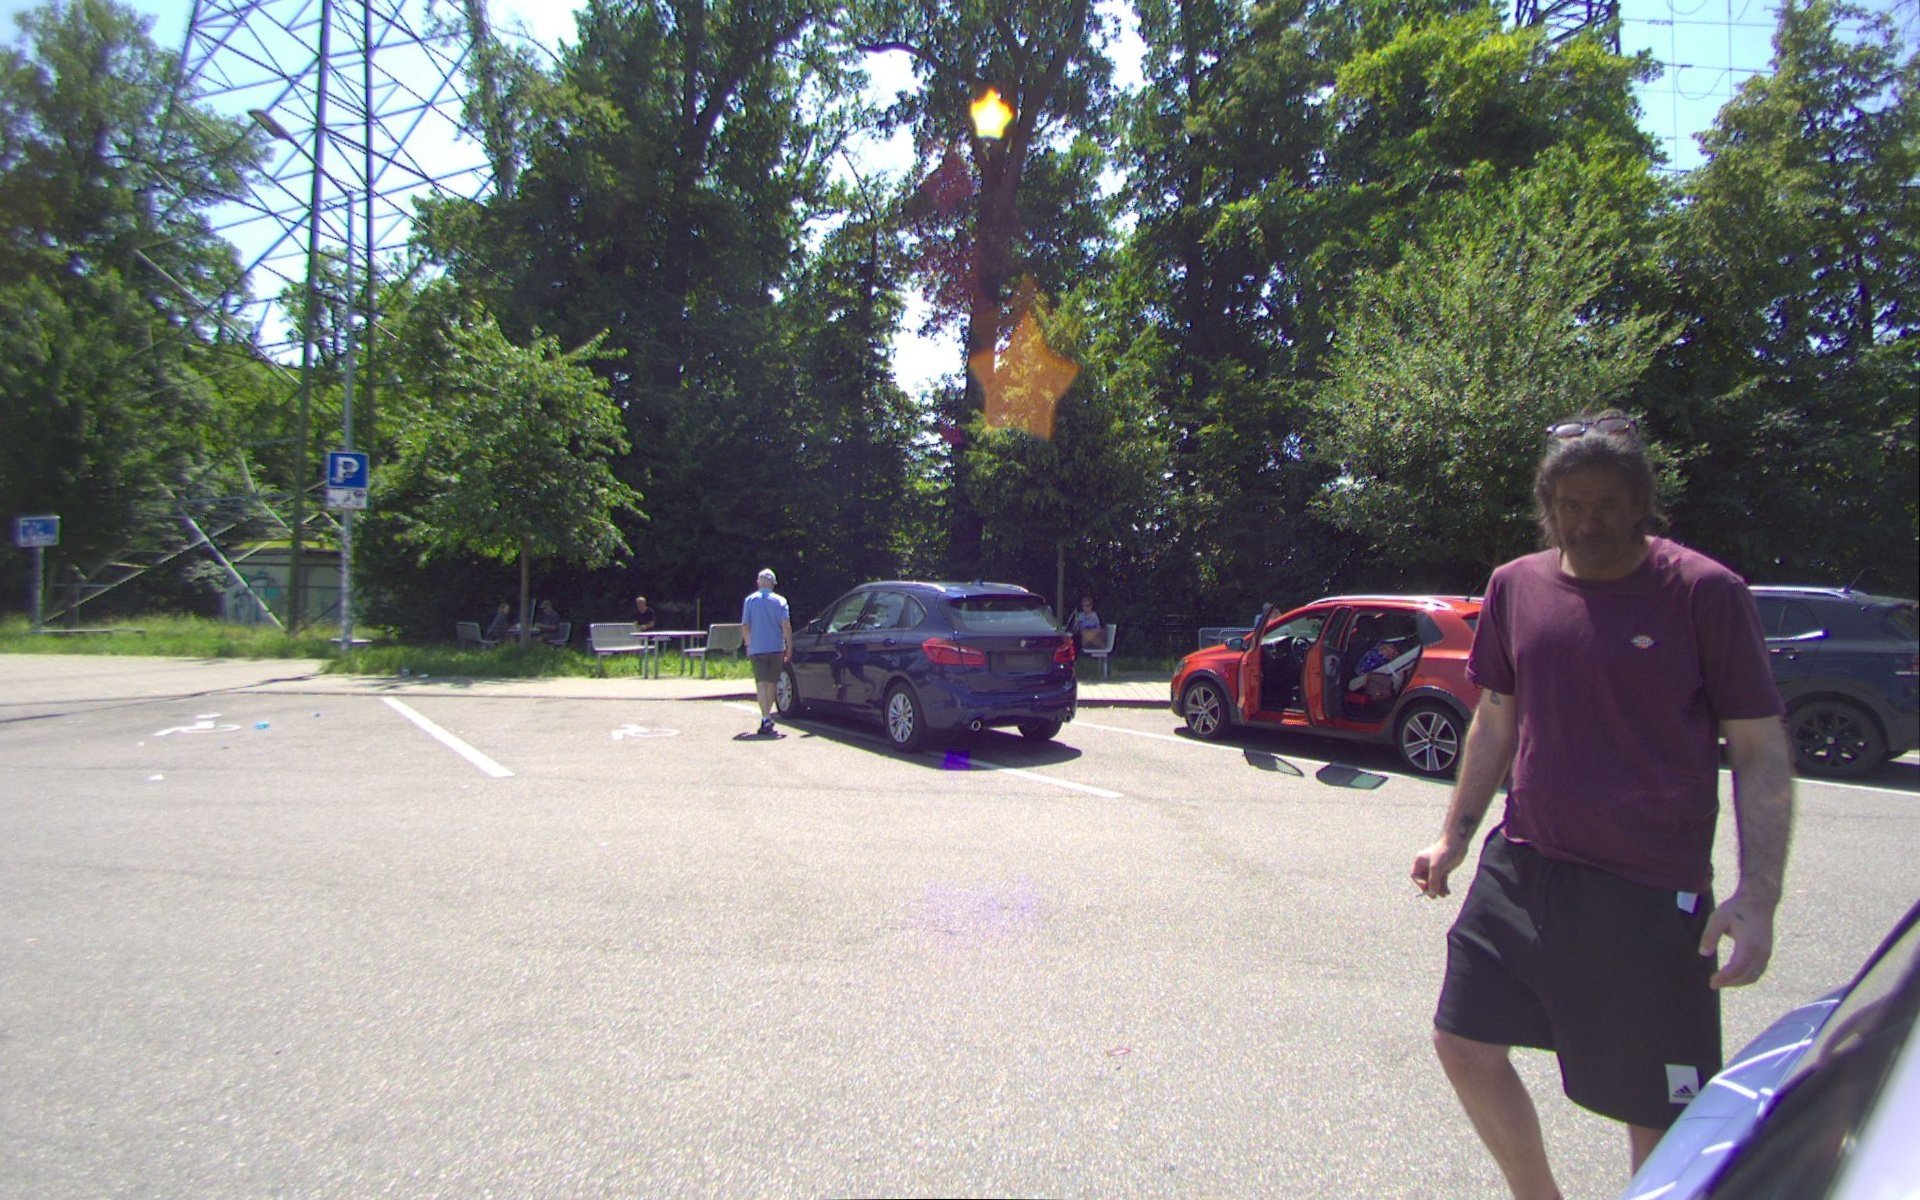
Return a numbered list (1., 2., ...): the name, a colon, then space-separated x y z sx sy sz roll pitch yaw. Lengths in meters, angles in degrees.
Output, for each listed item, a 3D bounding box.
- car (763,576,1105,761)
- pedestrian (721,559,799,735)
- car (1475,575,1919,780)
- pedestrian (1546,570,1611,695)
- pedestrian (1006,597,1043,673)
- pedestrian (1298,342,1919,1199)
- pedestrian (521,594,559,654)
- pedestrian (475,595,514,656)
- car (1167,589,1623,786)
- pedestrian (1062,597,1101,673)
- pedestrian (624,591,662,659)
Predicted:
1. car: -0.468 0.557 10.667 1.776 1.562 3.940 1 0 -34
2. pedestrian: -2.102 0.464 10.599 0.662 1.754 0.835 1 0 -21
3. car: 7.235 0.593 9.709 1.707 1.607 3.732 1 0 -39
4. pedestrian: 9.405 0.483 15.409 0.757 1.854 0.516 0 0 23
5. pedestrian: 1.084 0.585 17.083 0.576 1.251 0.697 0 -1 1
6. pedestrian: 1.273 0.545 1.969 0.846 1.857 0.863 0 0 -10
7. pedestrian: -9.745 0.548 23.480 0.687 1.352 0.563 0 0 -40
8. pedestrian: -10.502 0.558 22.842 0.687 1.352 0.563 0 0 -40
9. car: 3.870 0.644 9.594 1.559 1.467 3.737 1 0 -33
10. pedestrian: 2.031 0.580 17.017 0.576 1.251 0.697 0 -1 1
11. pedestrian: -6.673 0.523 21.319 0.553 1.408 0.700 0 0 2
